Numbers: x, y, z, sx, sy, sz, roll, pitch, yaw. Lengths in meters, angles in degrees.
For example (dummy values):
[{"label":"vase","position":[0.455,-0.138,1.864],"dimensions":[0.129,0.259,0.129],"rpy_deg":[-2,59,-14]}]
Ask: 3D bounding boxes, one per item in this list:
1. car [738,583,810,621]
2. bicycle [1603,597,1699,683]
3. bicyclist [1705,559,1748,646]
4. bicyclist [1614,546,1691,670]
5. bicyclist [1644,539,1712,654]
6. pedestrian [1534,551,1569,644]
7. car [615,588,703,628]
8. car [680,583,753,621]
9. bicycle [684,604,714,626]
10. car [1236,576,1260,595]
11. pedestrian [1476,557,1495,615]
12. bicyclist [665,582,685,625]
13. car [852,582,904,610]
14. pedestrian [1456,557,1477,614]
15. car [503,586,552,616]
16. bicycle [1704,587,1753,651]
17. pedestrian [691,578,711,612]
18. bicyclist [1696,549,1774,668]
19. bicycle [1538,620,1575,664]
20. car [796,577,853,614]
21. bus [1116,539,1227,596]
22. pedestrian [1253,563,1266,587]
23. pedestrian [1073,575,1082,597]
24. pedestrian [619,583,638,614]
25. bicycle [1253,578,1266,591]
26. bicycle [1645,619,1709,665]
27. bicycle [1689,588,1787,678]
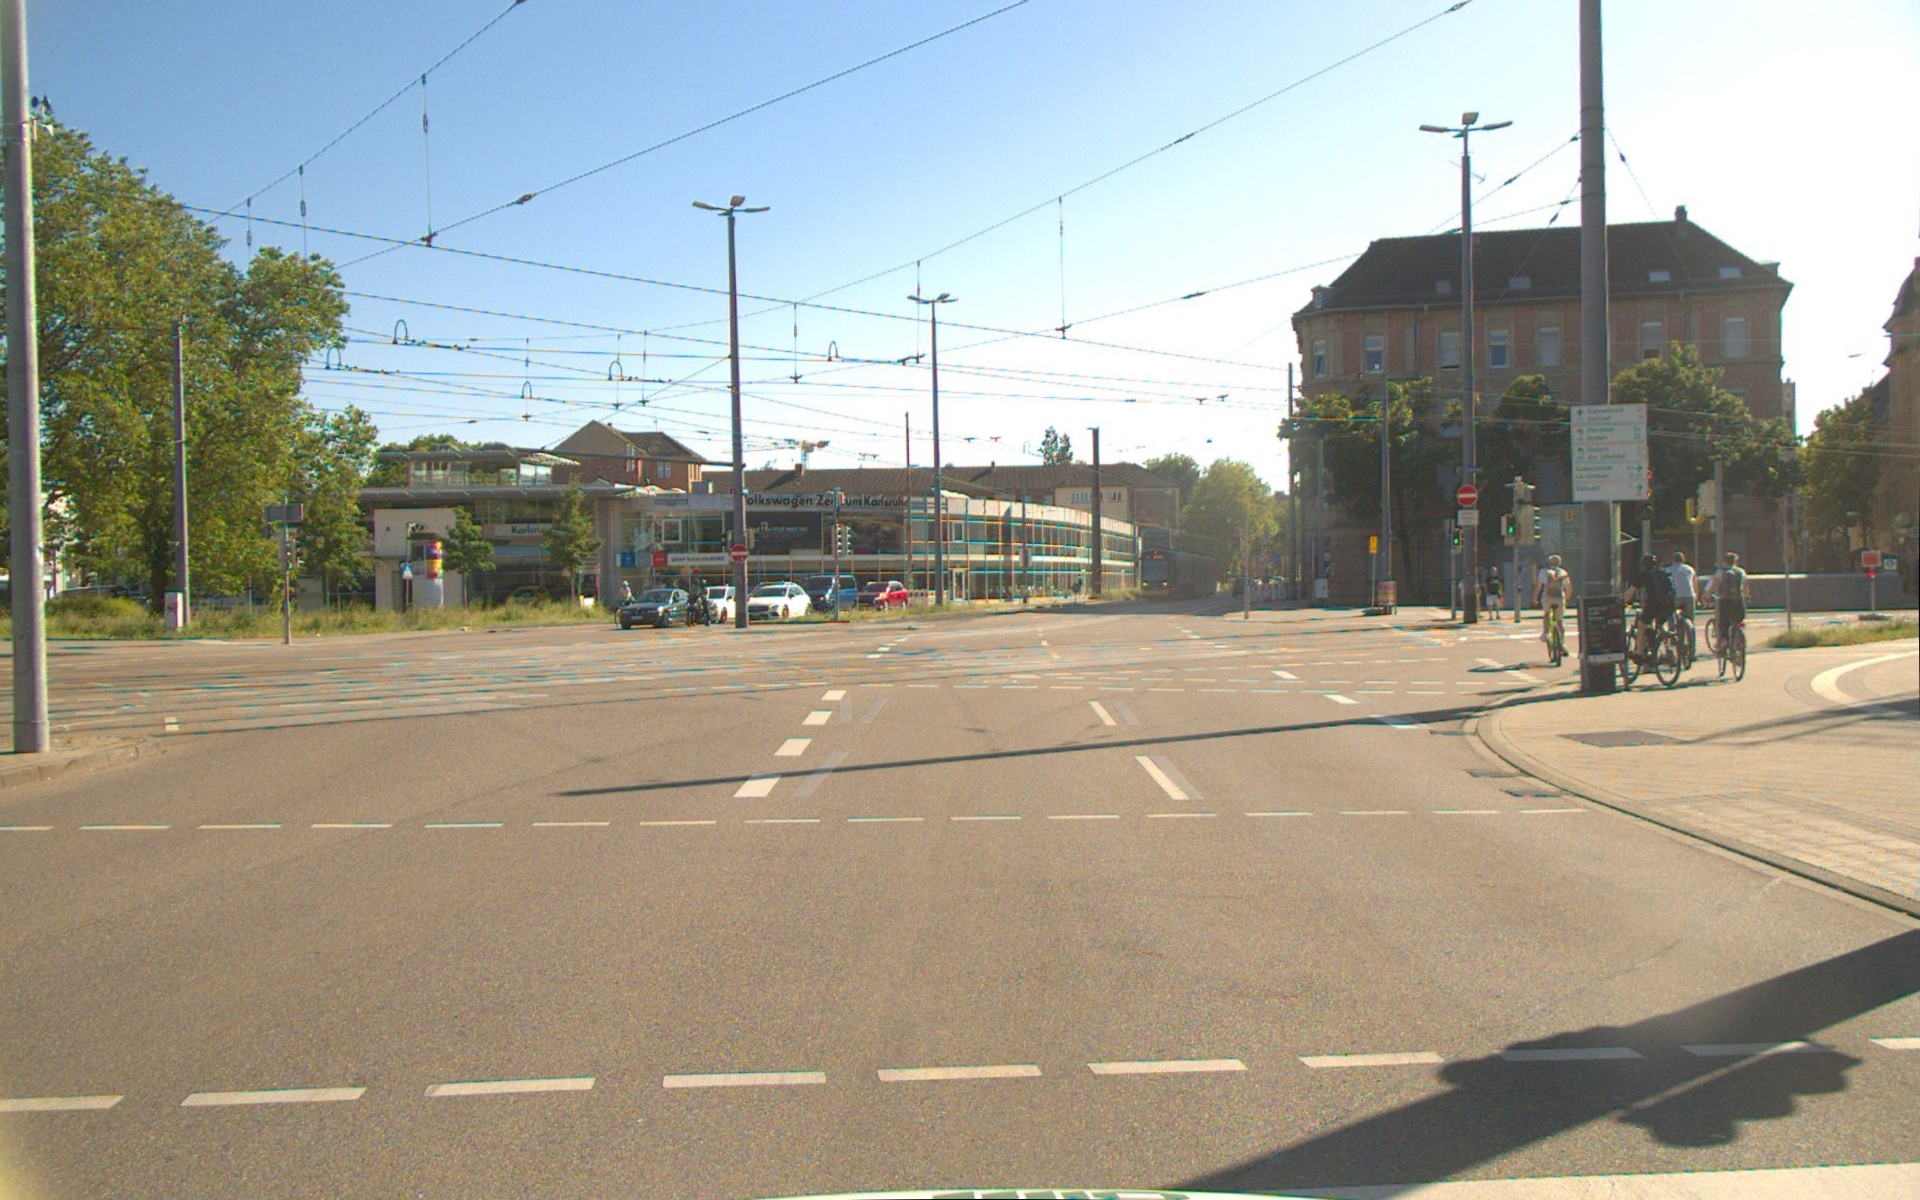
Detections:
[{"label":"car","position":[-7.236,0.072,64.827],"dimensions":[1.591,1.406,3.741],"rpy_deg":[-1,1,14]},{"label":"bicycle","position":[9.670,0.540,23.207],"dimensions":[0.612,1.133,1.851],"rpy_deg":[-3,0,3]},{"label":"bicyclist","position":[14.471,0.040,31.228],"dimensions":[0.559,1.596,0.947],"rpy_deg":[-1,0,16]},{"label":"bicyclist","position":[9.634,0.115,23.044],"dimensions":[0.612,1.666,0.995],"rpy_deg":[-3,-1,3]},{"label":"bicyclist","position":[11.663,-0.063,26.886],"dimensions":[0.731,1.809,0.925],"rpy_deg":[-2,0,6]},{"label":"pedestrian","position":[10.303,-0.046,28.816],"dimensions":[0.537,1.590,0.858],"rpy_deg":[-1,0,18]},{"label":"car","position":[-11.012,0.267,60.696],"dimensions":[1.667,1.378,3.703],"rpy_deg":[-1,1,16]},{"label":"car","position":[-9.788,0.054,66.670],"dimensions":[1.591,1.448,3.689],"rpy_deg":[-1,1,14]},{"label":"bicycle","position":[-9.472,0.535,60.050],"dimensions":[0.413,0.730,1.636],"rpy_deg":[-1,1,16]},{"label":"car","position":[24.580,-1.241,141.044],"dimensions":[1.663,1.529,4.268],"rpy_deg":[-1,1,14]},{"label":"pedestrian","position":[18.796,-0.495,59.153],"dimensions":[0.453,2.049,0.449],"rpy_deg":[-1,1,-18]},{"label":"bicyclist","position":[-11.668,0.140,67.726],"dimensions":[0.556,1.743,0.649],"rpy_deg":[-1,0,12]},{"label":"car","position":[-4.247,-0.202,86.016],"dimensions":[1.591,1.388,3.688],"rpy_deg":[-1,1,16]},{"label":"pedestrian","position":[18.386,-0.513,60.073],"dimensions":[0.564,2.049,0.449],"rpy_deg":[-1,1,-19]},{"label":"car","position":[-25.976,0.045,99.471],"dimensions":[1.926,1.735,4.083],"rpy_deg":[-1,1,-1]},{"label":"bicycle","position":[14.459,0.348,31.152],"dimensions":[0.559,1.145,1.741],"rpy_deg":[-1,0,16]},{"label":"pedestrian","position":[-9.434,-0.192,60.230],"dimensions":[0.413,1.225,0.750],"rpy_deg":[-1,0,16]},{"label":"bicyclist","position":[11.001,0.120,23.496],"dimensions":[0.670,1.626,0.978],"rpy_deg":[-3,0,8]},{"label":"bicycle","position":[10.399,0.725,28.848],"dimensions":[0.525,0.667,1.726],"rpy_deg":[-2,1,18]},{"label":"car","position":[-6.425,-0.237,78.856],"dimensions":[1.591,1.722,3.689],"rpy_deg":[-1,1,14]},{"label":"bus","position":[16.081,-2.223,122.760],"dimensions":[3.756,3.670,24.878],"rpy_deg":[1,0,18]},{"label":"pedestrian","position":[21.216,-1.768,117.141],"dimensions":[0.786,1.660,0.718],"rpy_deg":[-1,0,16]},{"label":"pedestrian","position":[9.454,-1.122,132.739],"dimensions":[0.531,1.718,0.630],"rpy_deg":[-1,0,19]},{"label":"pedestrian","position":[-13.108,-0.070,65.381],"dimensions":[0.414,1.225,0.681],"rpy_deg":[-1,0,18]},{"label":"bicycle","position":[21.155,-1.076,116.752],"dimensions":[0.727,0.885,1.932],"rpy_deg":[-1,0,16]},{"label":"bicycle","position":[11.706,0.674,27.031],"dimensions":[0.525,0.667,1.469],"rpy_deg":[-2,1,6]},{"label":"bicycle","position":[11.004,0.447,23.451],"dimensions":[0.670,1.184,1.885],"rpy_deg":[-3,0,8]}]
